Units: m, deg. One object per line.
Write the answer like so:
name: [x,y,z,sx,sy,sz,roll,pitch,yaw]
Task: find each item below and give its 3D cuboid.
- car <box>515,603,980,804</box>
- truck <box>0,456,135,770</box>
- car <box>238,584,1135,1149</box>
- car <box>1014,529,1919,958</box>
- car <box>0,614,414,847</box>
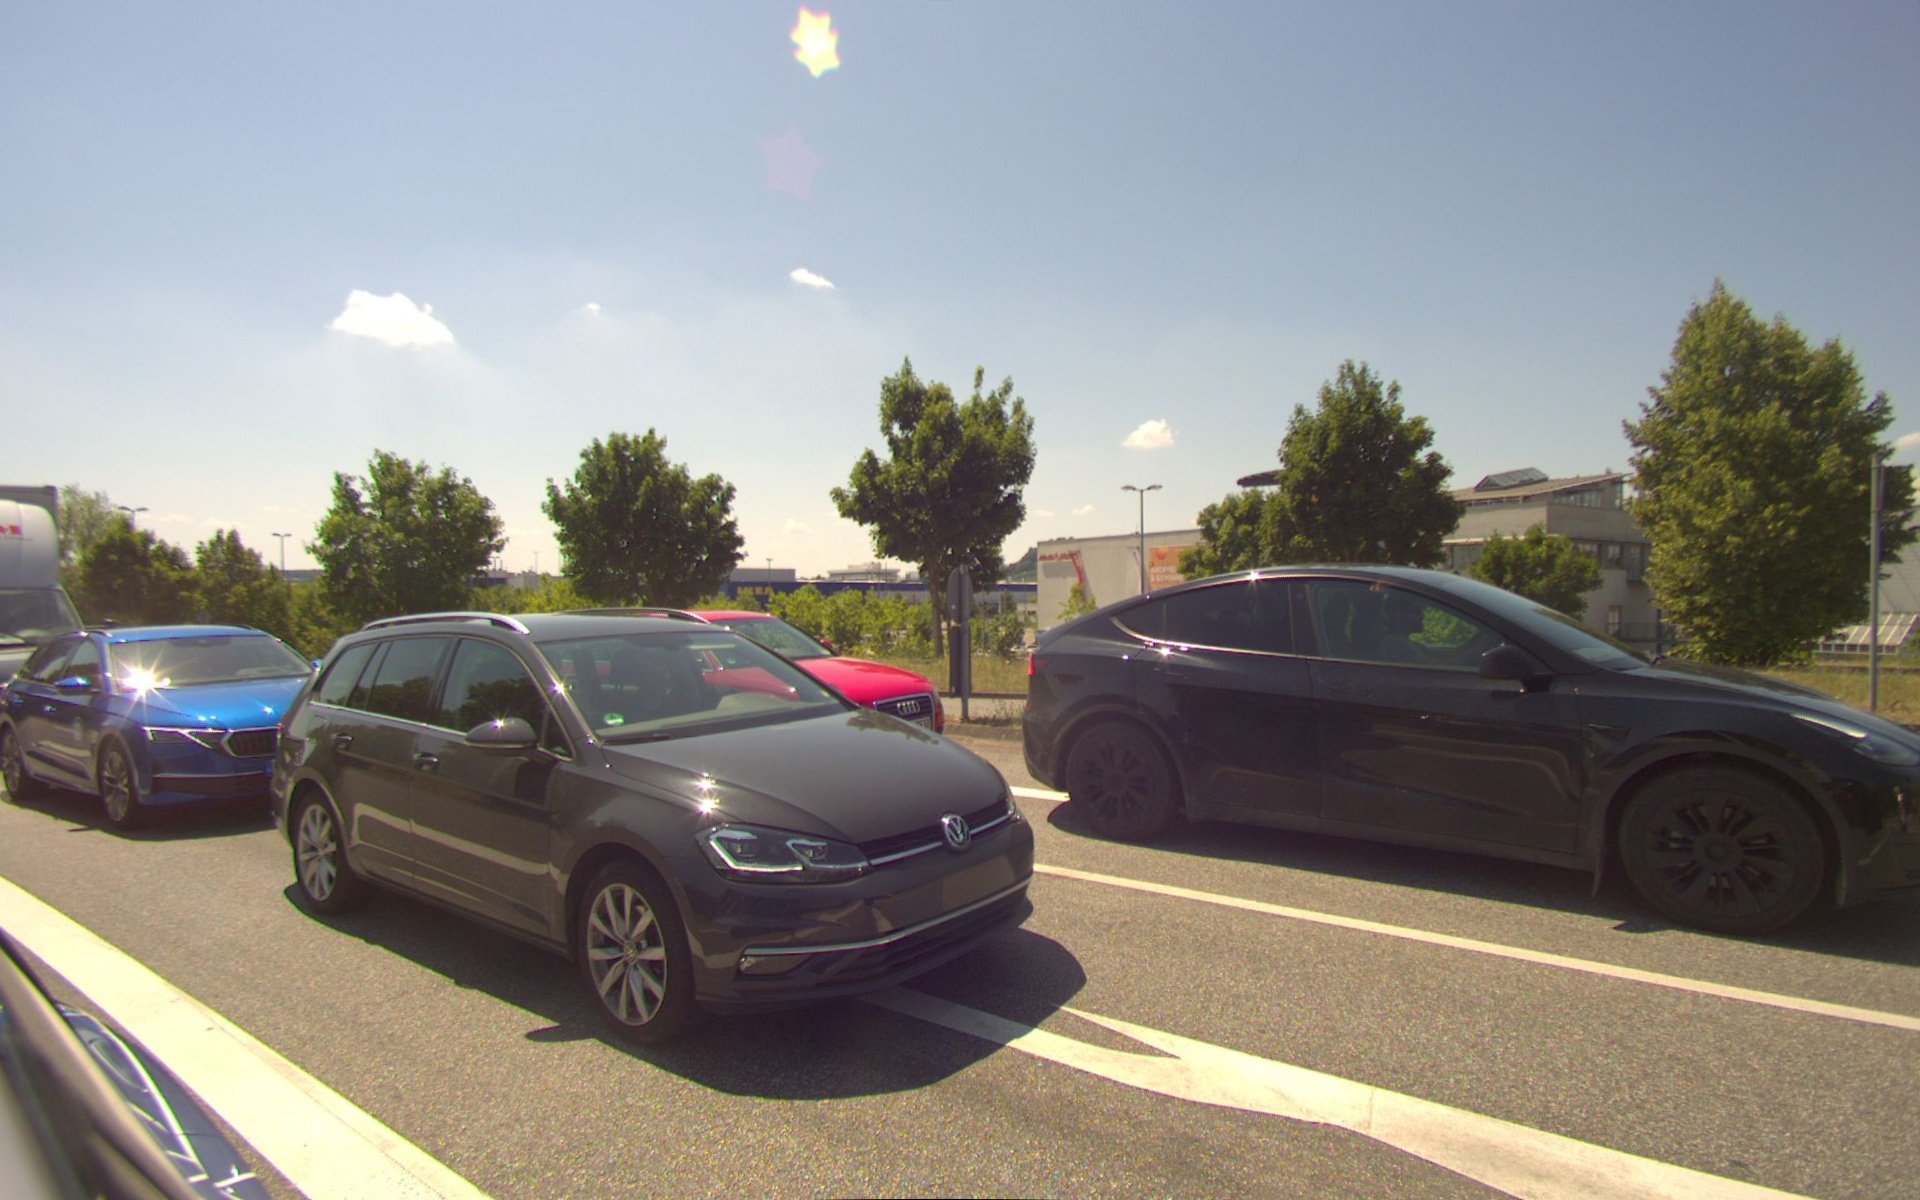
car: [-2.097,0.776,9.255,4.442,1.399,1.645,-1,1,37]
truck: [-13.352,0.290,12.806,7.180,3.373,2.389,-3,-1,33]
car: [-1.580,0.744,4.751,4.423,1.493,1.761,-1,-1,38]
car: [2.686,0.563,5.683,4.498,1.613,1.858,-1,0,37]
car: [-6.673,0.939,8.540,4.476,1.473,1.694,-2,-1,33]
